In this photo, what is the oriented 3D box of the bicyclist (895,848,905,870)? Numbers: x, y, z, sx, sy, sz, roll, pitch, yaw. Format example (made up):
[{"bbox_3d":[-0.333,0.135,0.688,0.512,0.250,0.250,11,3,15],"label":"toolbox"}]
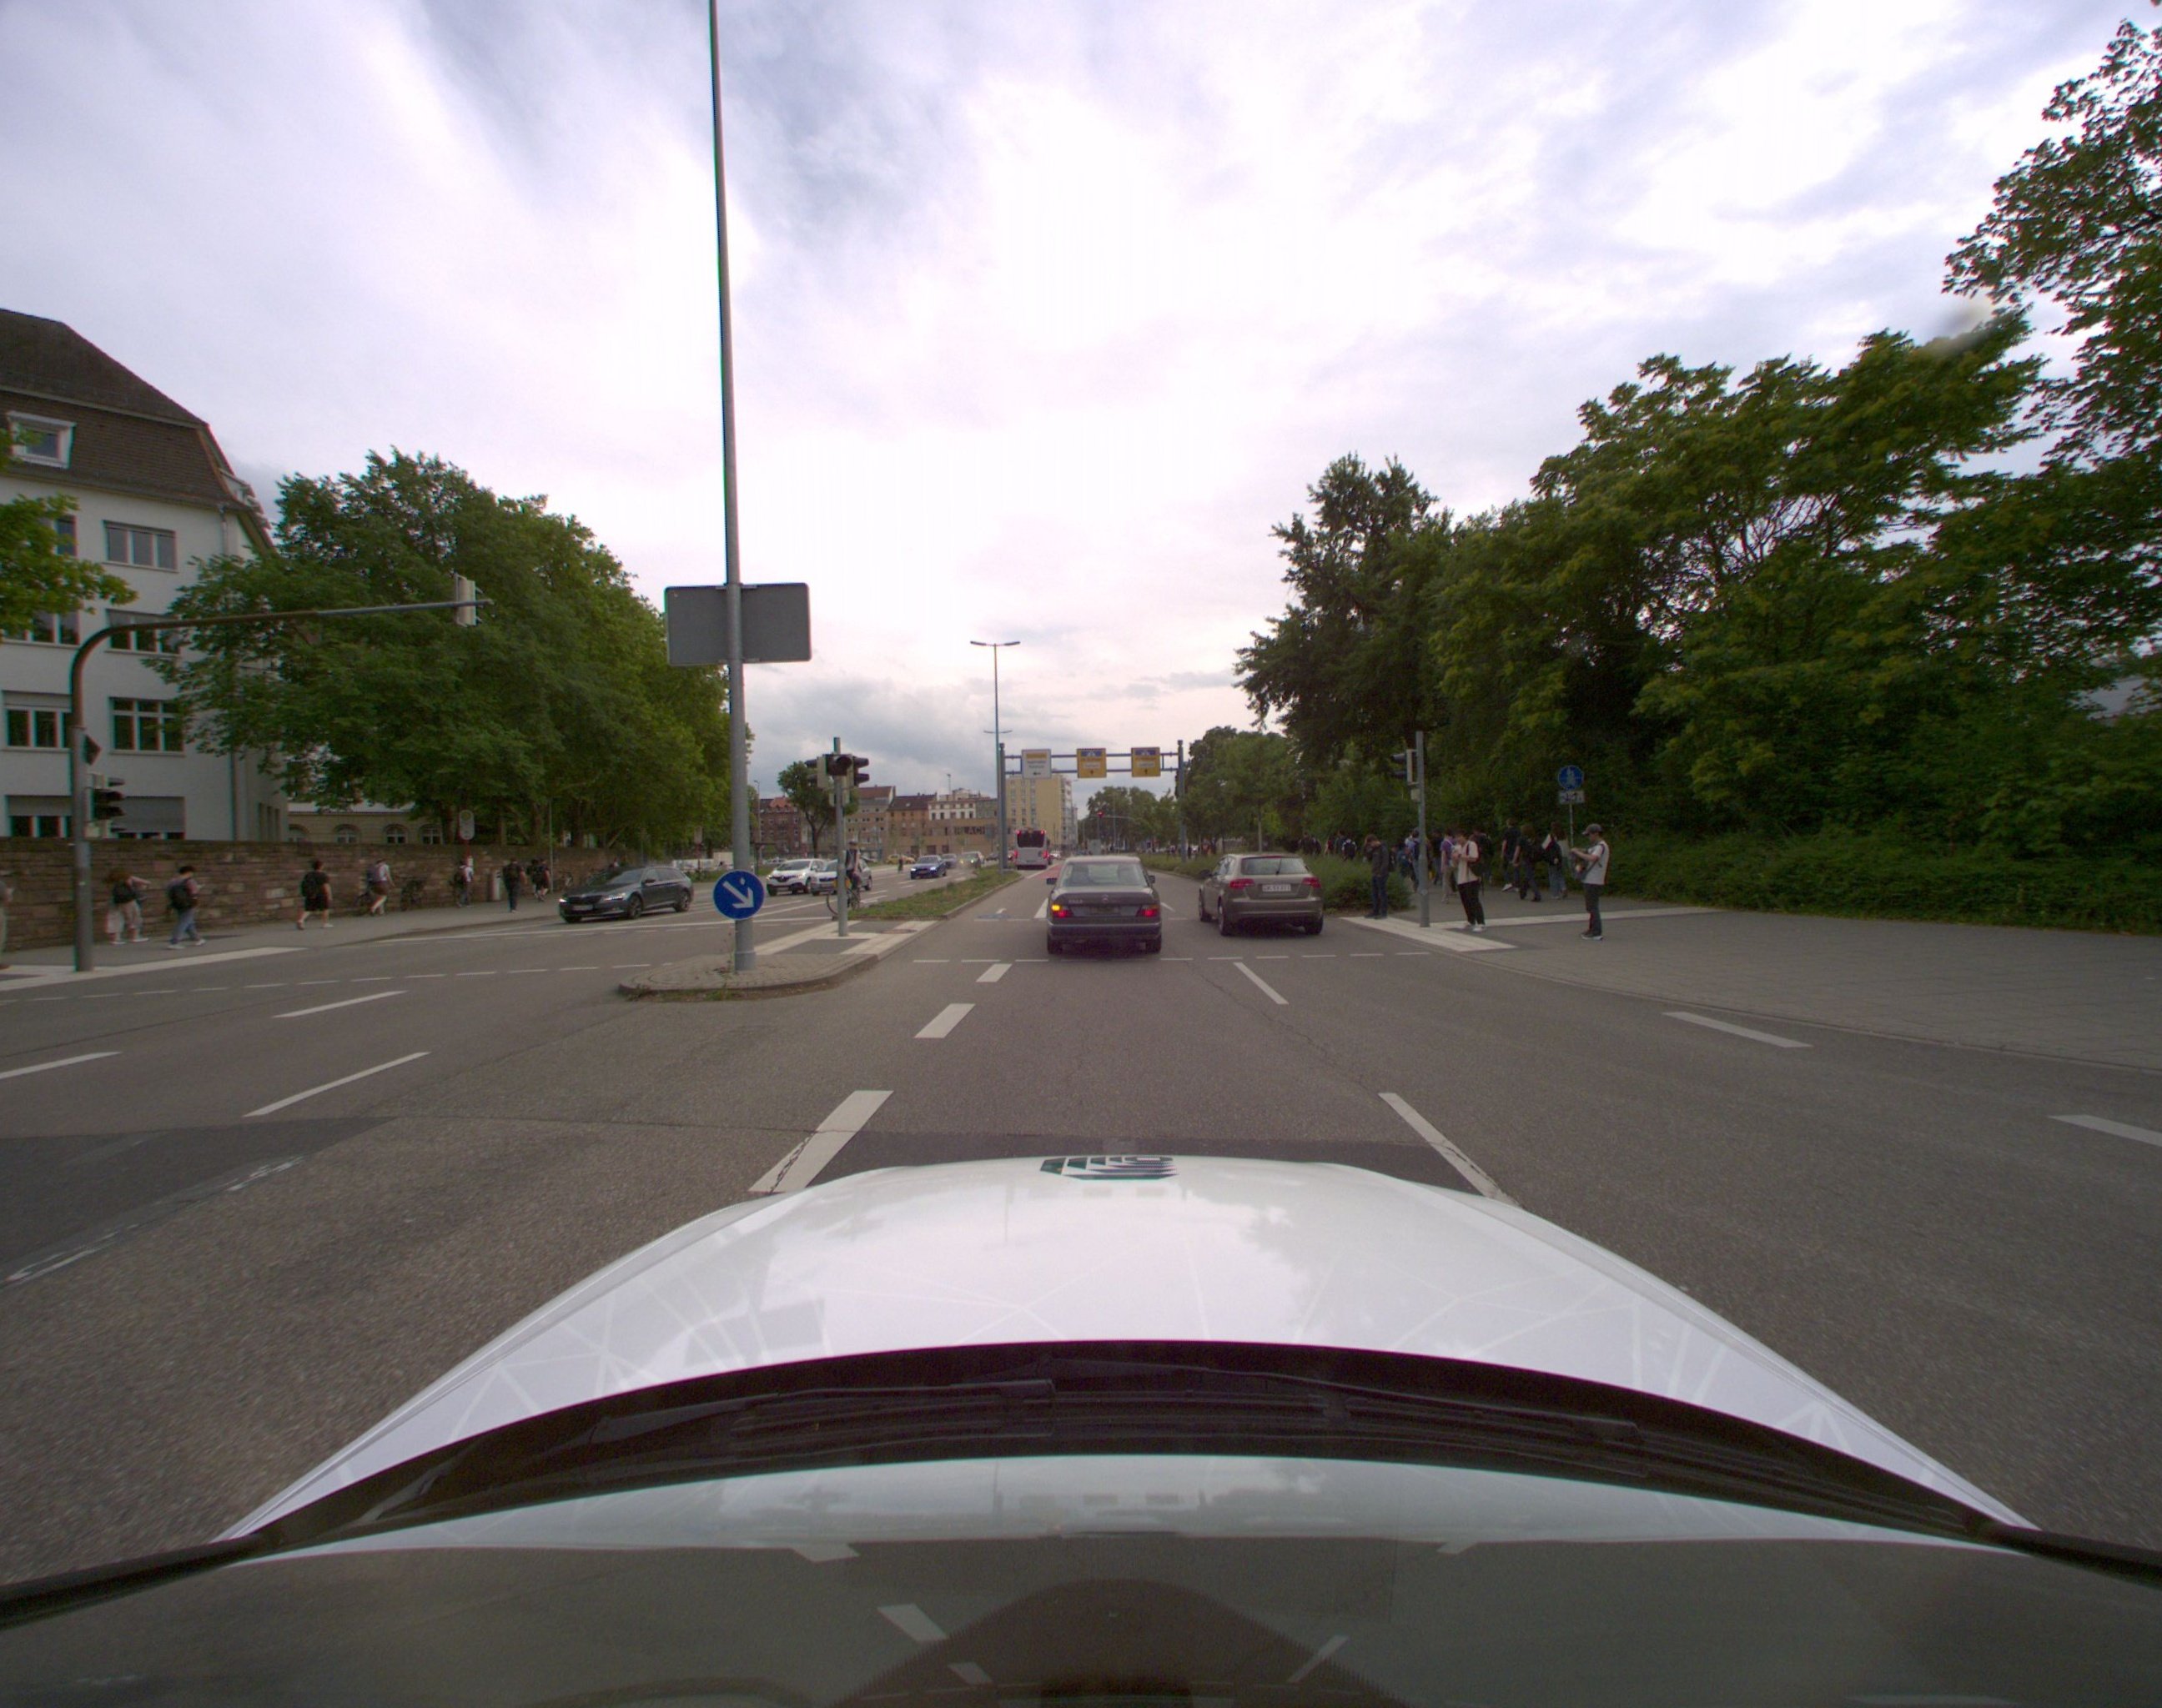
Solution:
[{"bbox_3d":[-15.420,0.423,69.489,0.615,1.782,0.812,-2,0,4],"label":"bicyclist"}]

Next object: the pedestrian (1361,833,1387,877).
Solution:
[{"bbox_3d":[10.913,0.029,30.314,0.633,1.583,0.785,-2,0,0],"label":"pedestrian"}]

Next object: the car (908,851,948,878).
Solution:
[{"bbox_3d":[-9.730,0.642,52.112,1.796,1.511,4.102,-2,1,-1],"label":"car"}]

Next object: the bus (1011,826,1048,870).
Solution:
[{"bbox_3d":[-4.197,-0.517,67.790,2.824,3.390,8.175,-1,0,-2],"label":"bus"}]

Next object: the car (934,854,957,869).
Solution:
[{"bbox_3d":[-12.601,0.682,75.892,1.497,1.365,3.833,-1,0,1],"label":"car"}]

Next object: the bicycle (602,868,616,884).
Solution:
[{"bbox_3d":[-27.754,1.288,47.904,0.347,0.878,1.513,1,-1,-18],"label":"bicycle"}]

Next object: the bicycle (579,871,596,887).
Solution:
[{"bbox_3d":[-26.419,1.327,43.615,0.442,0.827,1.611,1,-1,-18],"label":"bicycle"}]

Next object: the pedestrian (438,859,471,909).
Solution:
[{"bbox_3d":[-21.775,1.039,28.316,0.763,1.671,0.915,-1,-2,-29],"label":"pedestrian"}]

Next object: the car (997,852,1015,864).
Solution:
[{"bbox_3d":[-10.396,0.557,113.277,1.794,1.489,4.292,-2,0,3],"label":"car"}]

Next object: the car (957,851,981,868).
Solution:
[{"bbox_3d":[-10.023,0.472,73.072,1.566,1.489,3.637,-3,0,1],"label":"car"}]

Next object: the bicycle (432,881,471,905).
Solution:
[{"bbox_3d":[-23.012,1.415,29.793,0.441,0.797,1.615,1,1,-10],"label":"bicycle"}]

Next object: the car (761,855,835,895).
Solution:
[{"bbox_3d":[-12.992,0.910,37.702,1.859,1.652,4.421,-1,0,-1],"label":"car"}]

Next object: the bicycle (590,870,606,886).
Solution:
[{"bbox_3d":[-27.165,1.335,45.788,0.417,0.878,1.546,1,-1,-18],"label":"bicycle"}]

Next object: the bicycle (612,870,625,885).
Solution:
[{"bbox_3d":[-28.570,1.426,50.323,0.442,0.878,1.609,1,-1,-21],"label":"bicycle"}]

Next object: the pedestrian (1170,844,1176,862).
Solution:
[{"bbox_3d":[10.363,-0.097,91.552,0.612,2.013,0.597,-1,0,-2],"label":"pedestrian"}]

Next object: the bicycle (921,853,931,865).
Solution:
[{"bbox_3d":[-15.555,0.510,81.890,0.579,1.170,1.965,-2,0,2],"label":"bicycle"}]

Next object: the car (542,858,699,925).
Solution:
[{"bbox_3d":[-12.940,0.965,23.294,1.892,1.616,4.740,-1,0,-3],"label":"car"}]

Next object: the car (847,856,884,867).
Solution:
[{"bbox_3d":[-29.779,1.016,112.614,4.663,1.475,1.657,0,0,-6],"label":"car"}]

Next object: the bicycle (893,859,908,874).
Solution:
[{"bbox_3d":[-15.397,1.045,69.504,0.616,1.217,2.047,-2,0,4],"label":"bicycle"}]

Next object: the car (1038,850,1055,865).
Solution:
[{"bbox_3d":[-3.678,0.426,86.579,1.651,1.397,3.855,-2,-2,-3],"label":"car"}]

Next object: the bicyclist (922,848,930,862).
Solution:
[{"bbox_3d":[-15.552,0.093,81.846,0.578,1.419,0.811,-2,0,1],"label":"bicyclist"}]

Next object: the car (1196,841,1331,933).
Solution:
[{"bbox_3d":[3.270,0.533,15.296,1.718,1.457,3.736,-2,0,1],"label":"car"}]

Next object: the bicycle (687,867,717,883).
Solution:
[{"bbox_3d":[-23.553,1.299,50.651,0.467,0.918,2.344,-1,0,7],"label":"bicycle"}]

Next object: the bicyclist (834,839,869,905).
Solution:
[{"bbox_3d":[-5.579,0.420,19.805,0.569,1.574,0.700,-1,0,3],"label":"bicyclist"}]

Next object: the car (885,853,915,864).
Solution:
[{"bbox_3d":[-25.068,0.602,113.042,3.851,1.517,1.657,0,0,-6],"label":"car"}]

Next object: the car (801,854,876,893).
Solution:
[{"bbox_3d":[-10.251,0.773,34.750,1.795,1.489,4.289,-2,0,1],"label":"car"}]

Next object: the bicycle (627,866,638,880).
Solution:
[{"bbox_3d":[-30.427,1.304,55.238,0.483,0.907,1.608,-2,0,-23],"label":"bicycle"}]

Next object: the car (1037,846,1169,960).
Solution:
[{"bbox_3d":[0.373,0.645,13.079,1.754,1.489,4.173,-2,0,2],"label":"car"}]

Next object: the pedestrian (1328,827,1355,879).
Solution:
[{"bbox_3d":[9.335,-0.031,29.240,0.654,1.821,0.812,-2,0,0],"label":"pedestrian"}]

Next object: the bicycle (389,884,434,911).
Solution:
[{"bbox_3d":[-22.639,1.446,27.565,0.441,0.797,1.615,1,1,-10],"label":"bicycle"}]

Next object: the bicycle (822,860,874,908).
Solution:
[{"bbox_3d":[-5.584,0.704,19.654,0.571,1.055,1.928,-1,0,3],"label":"bicycle"}]

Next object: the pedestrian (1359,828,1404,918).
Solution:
[{"bbox_3d":[5.987,0.365,16.235,0.600,1.735,0.654,-1,0,-3],"label":"pedestrian"}]

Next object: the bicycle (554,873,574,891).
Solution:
[{"bbox_3d":[-25.306,1.374,39.890,0.442,0.827,1.611,1,-1,-18],"label":"bicycle"}]

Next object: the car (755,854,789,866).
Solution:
[{"bbox_3d":[-44.087,0.830,116.349,4.150,1.649,1.643,-2,0,-7],"label":"car"}]
